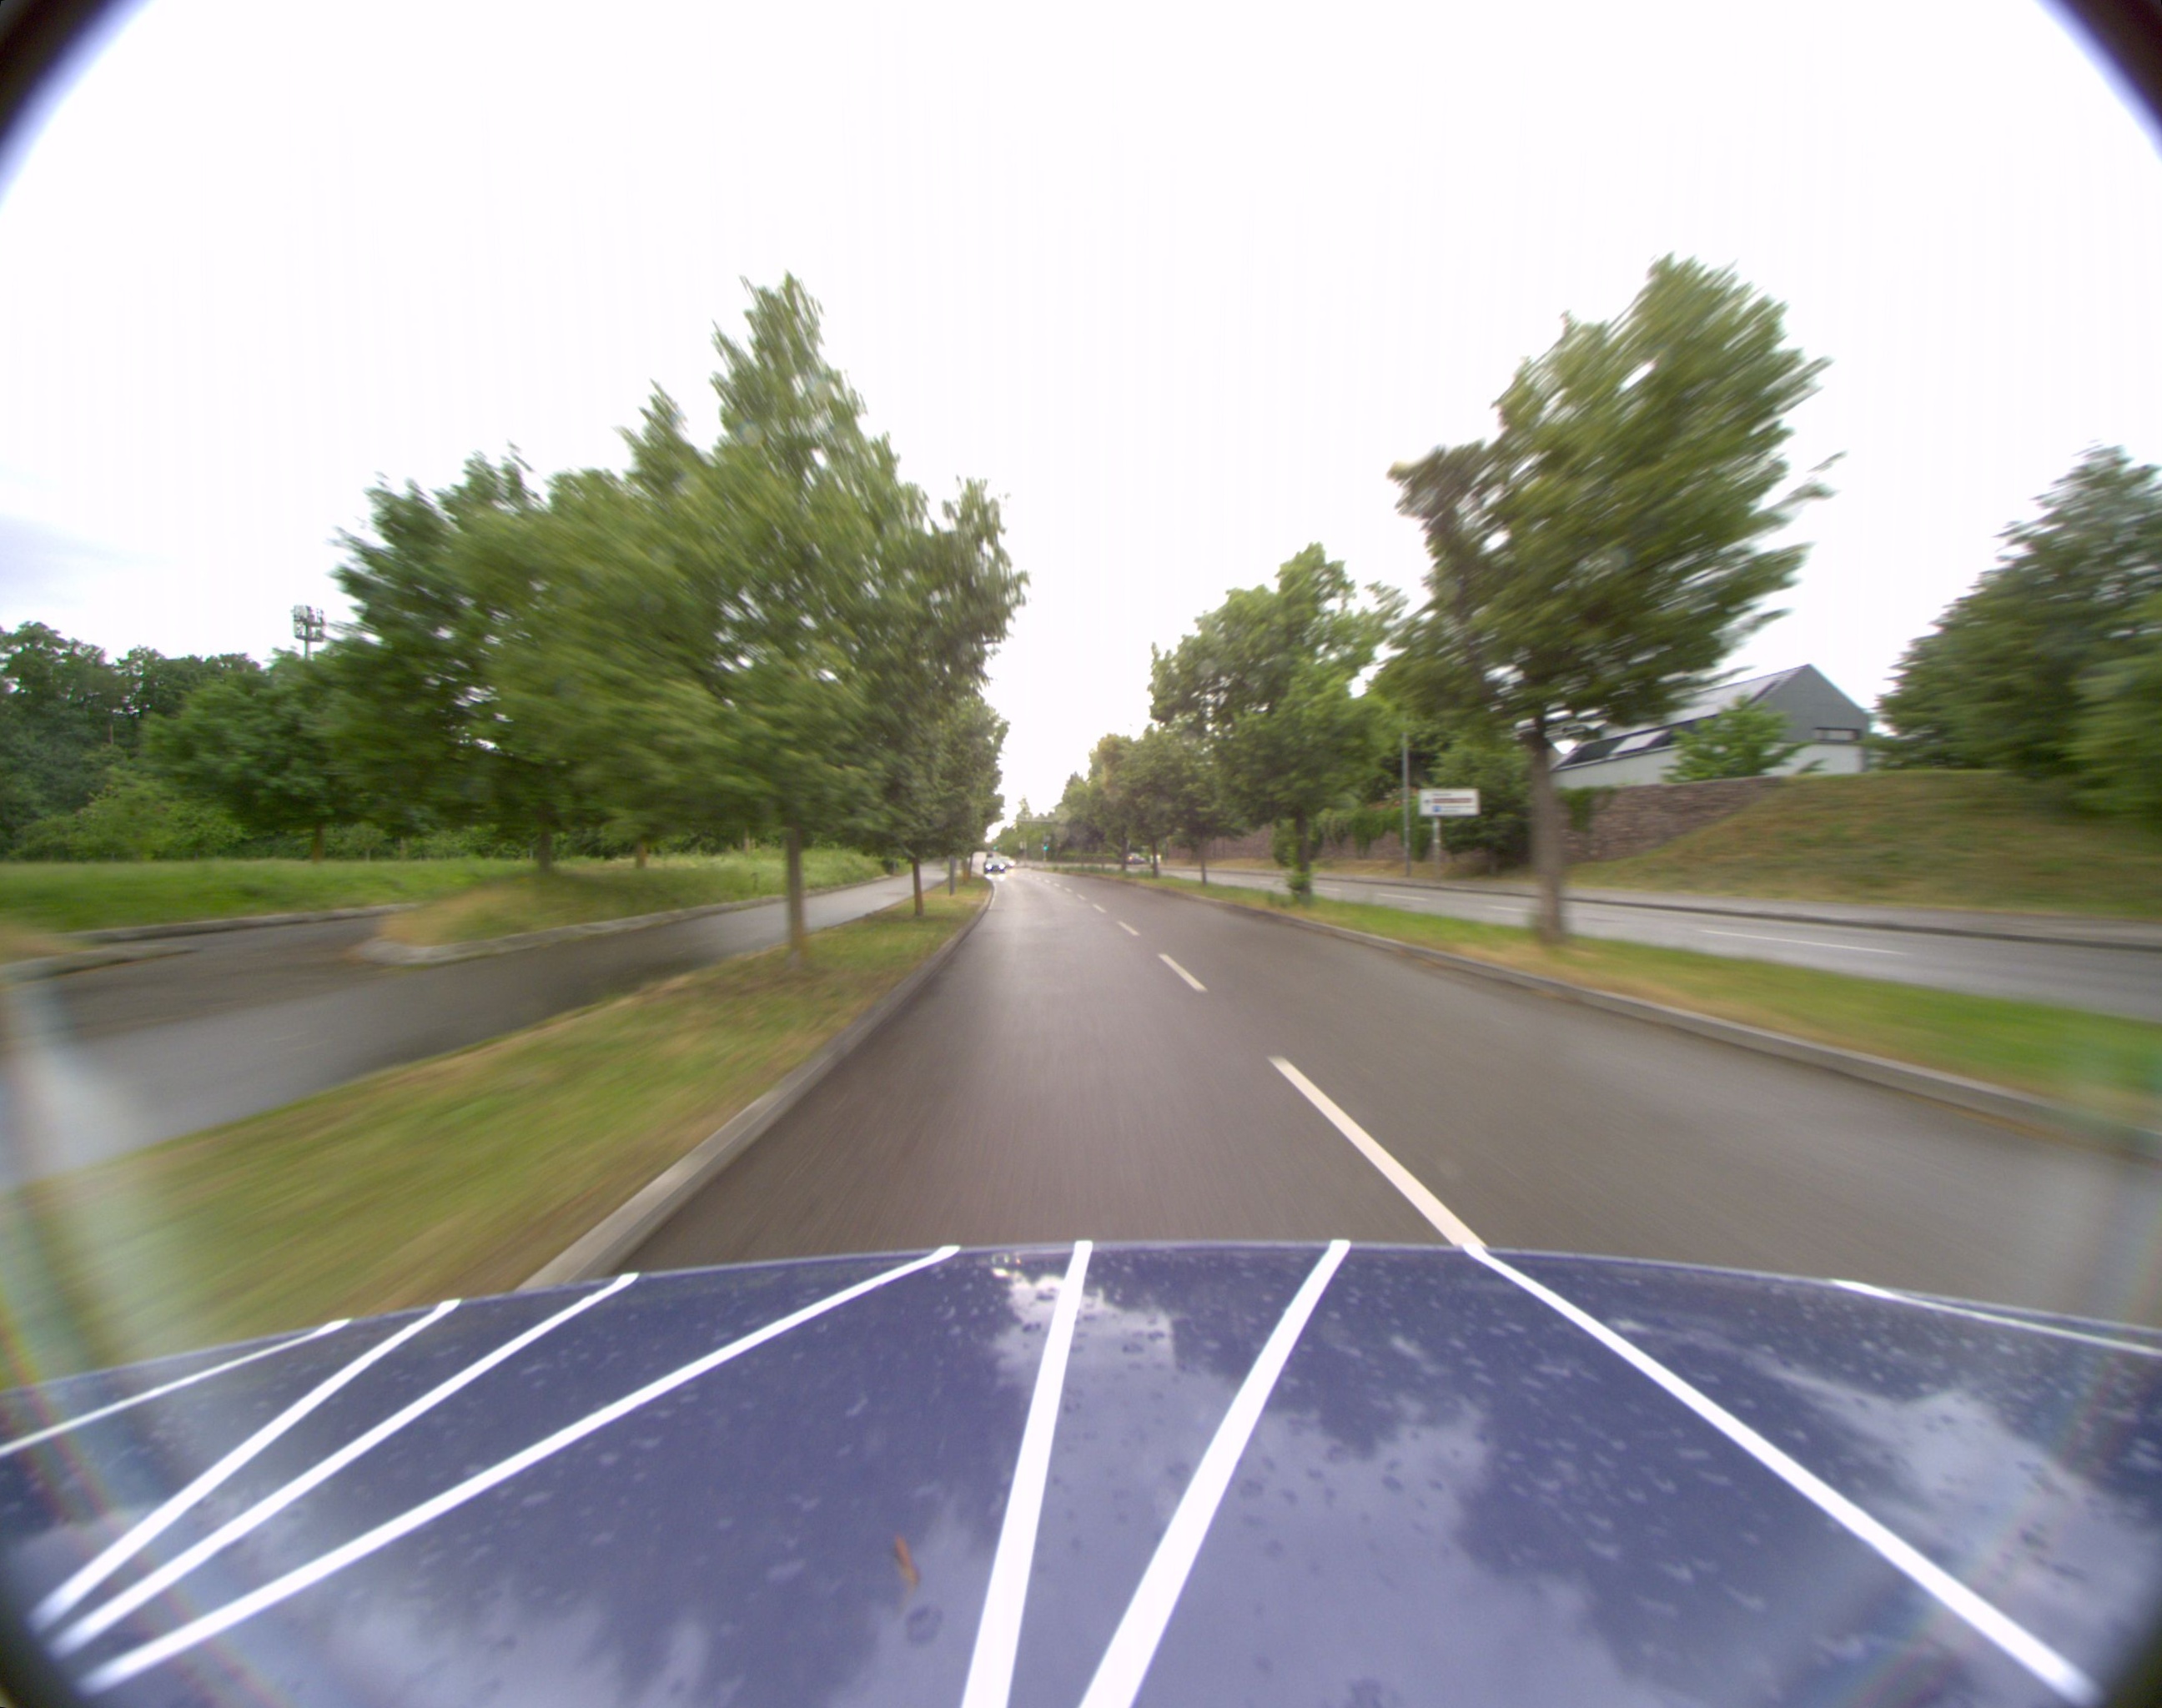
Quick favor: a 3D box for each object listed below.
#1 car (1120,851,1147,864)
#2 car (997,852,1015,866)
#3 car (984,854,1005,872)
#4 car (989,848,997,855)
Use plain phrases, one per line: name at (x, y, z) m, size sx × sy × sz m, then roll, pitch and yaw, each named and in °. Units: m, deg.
car at (6.693, 0.438, 96.326) m, size 2.921 × 1.530 × 1.688 m, roll -1°, pitch 0°, yaw -34°
car at (-9.204, 0.612, 93.339) m, size 1.826 × 1.548 × 3.995 m, roll -1°, pitch 1°, yaw -11°
car at (-8.213, 0.796, 71.655) m, size 1.825 × 1.548 × 3.996 m, roll -1°, pitch 1°, yaw -8°
car at (-25.704, -0.788, 222.180) m, size 2.020 × 1.908 × 5.090 m, roll -1°, pitch 1°, yaw -10°
